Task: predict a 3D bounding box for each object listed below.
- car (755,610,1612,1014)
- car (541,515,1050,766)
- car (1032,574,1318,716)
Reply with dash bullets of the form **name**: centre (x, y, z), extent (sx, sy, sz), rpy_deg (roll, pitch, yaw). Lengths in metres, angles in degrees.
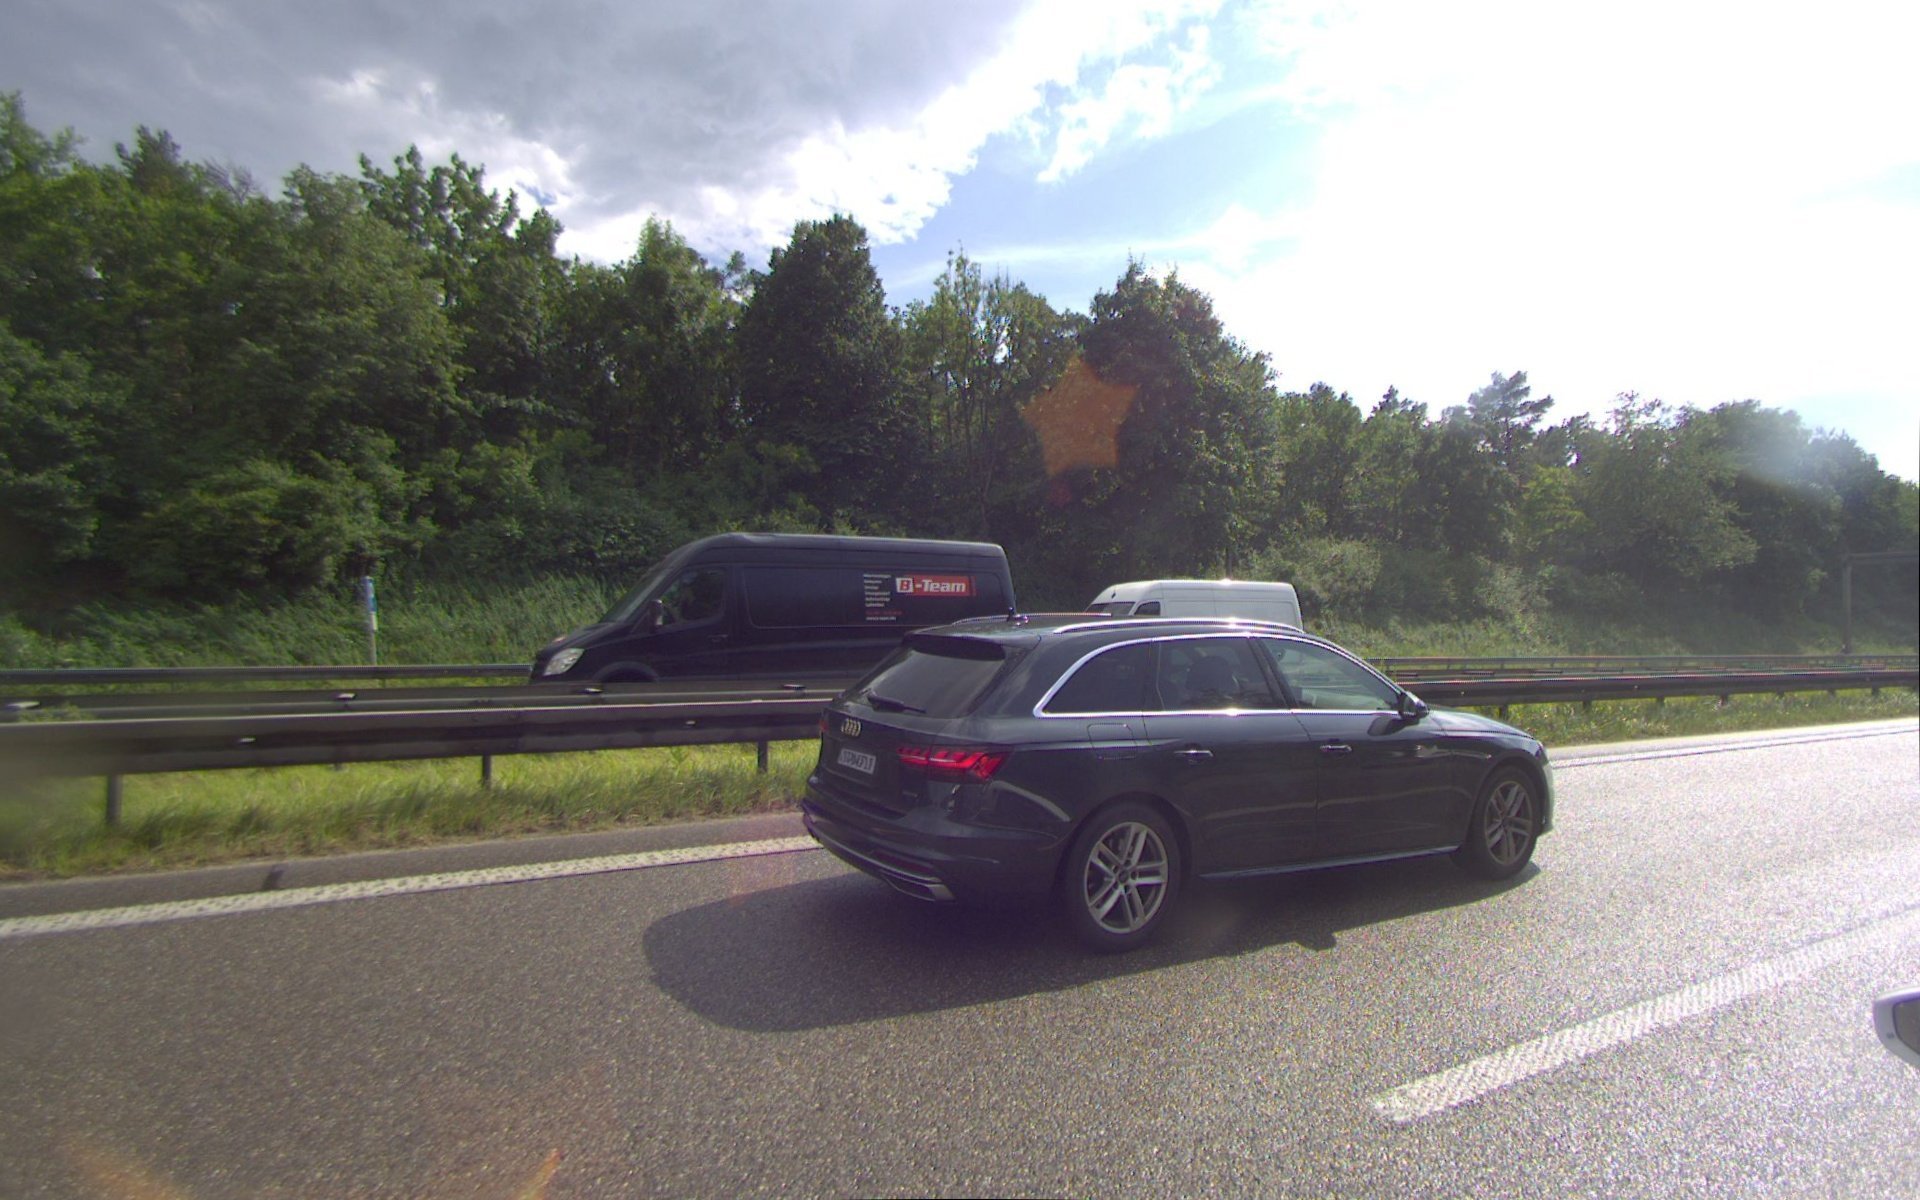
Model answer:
- **car**: centre (1.447, 0.836, 5.655), extent (4.783, 1.437, 1.785), rpy_deg (2, 0, -31)
- **car**: centre (-2.157, 0.537, 14.342), extent (6.810, 2.908, 2.251), rpy_deg (2, 0, -31)
- **car**: centre (5.097, 0.989, 23.310), extent (6.710, 2.908, 2.251), rpy_deg (2, 0, -31)
